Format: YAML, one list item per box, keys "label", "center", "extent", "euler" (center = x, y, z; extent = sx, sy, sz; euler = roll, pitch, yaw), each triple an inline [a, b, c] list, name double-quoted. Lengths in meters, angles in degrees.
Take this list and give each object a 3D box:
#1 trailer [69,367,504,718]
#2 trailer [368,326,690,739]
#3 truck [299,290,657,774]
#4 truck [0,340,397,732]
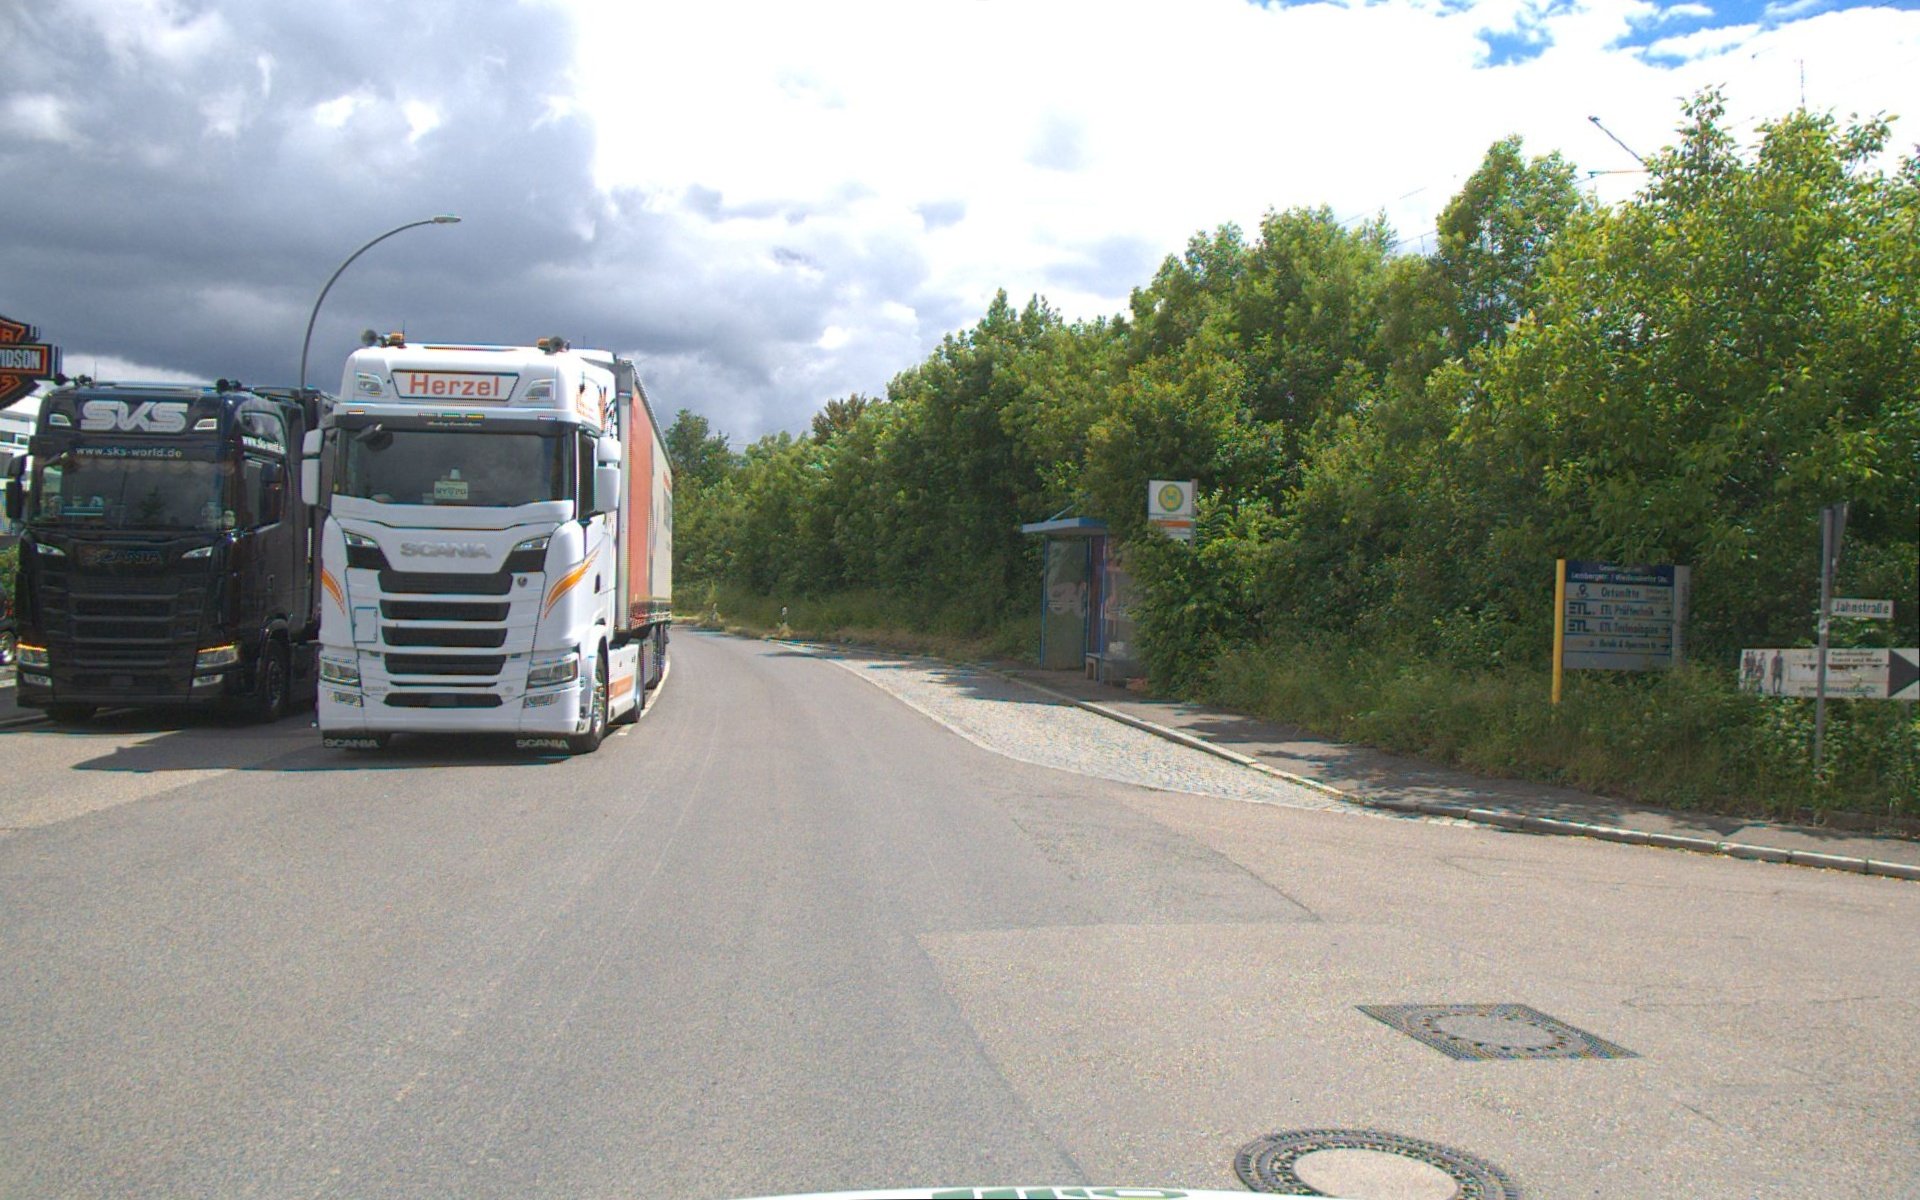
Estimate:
- label: "trailer"
  center: [-10.231, -0.685, 27.678]
  extent: [2.746, 4.124, 15.529]
  euler: [2, 0, -7]
- label: "trailer"
  center: [-5.735, -0.696, 24.920]
  extent: [2.719, 4.217, 15.323]
  euler: [2, 0, -8]
- label: "truck"
  center: [-4.718, -0.583, 17.179]
  extent: [2.719, 4.191, 4.977]
  euler: [2, 0, -8]
- label: "truck"
  center: [-9.357, -0.678, 21.084]
  extent: [2.746, 4.124, 6.490]
  euler: [2, 0, -8]
